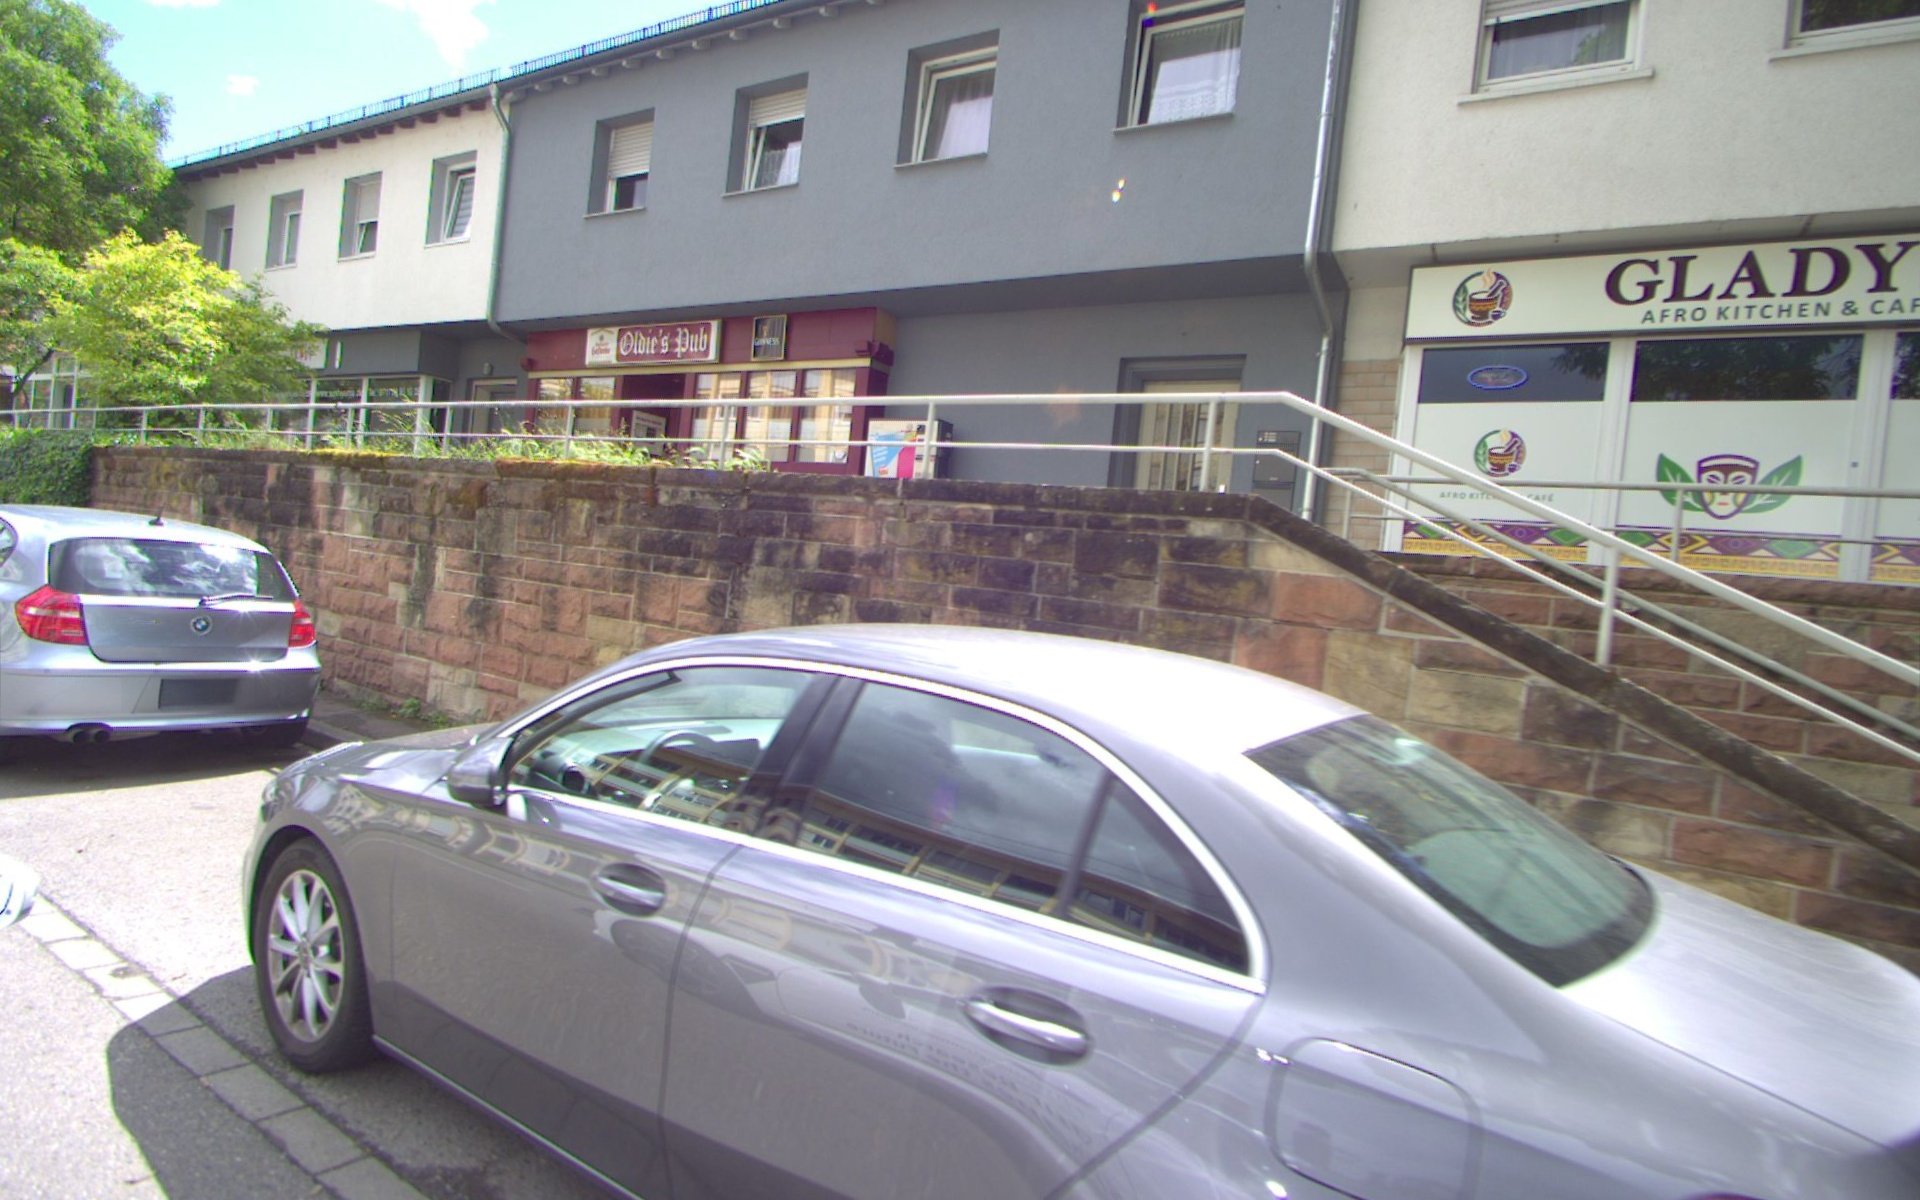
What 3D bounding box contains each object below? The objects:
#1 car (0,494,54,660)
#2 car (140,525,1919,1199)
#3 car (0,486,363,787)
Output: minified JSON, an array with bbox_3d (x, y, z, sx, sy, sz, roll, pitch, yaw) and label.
[{"bbox_3d":[-10.142,-0.403,9.402,3.591,1.423,1.621,7,1,34],"label":"car"},{"bbox_3d":[-0.309,0.749,2.801,4.342,1.423,1.836,7,1,34],"label":"car"},{"bbox_3d":[-5.906,0.032,6.592,4.001,1.423,1.691,7,1,31],"label":"car"}]
